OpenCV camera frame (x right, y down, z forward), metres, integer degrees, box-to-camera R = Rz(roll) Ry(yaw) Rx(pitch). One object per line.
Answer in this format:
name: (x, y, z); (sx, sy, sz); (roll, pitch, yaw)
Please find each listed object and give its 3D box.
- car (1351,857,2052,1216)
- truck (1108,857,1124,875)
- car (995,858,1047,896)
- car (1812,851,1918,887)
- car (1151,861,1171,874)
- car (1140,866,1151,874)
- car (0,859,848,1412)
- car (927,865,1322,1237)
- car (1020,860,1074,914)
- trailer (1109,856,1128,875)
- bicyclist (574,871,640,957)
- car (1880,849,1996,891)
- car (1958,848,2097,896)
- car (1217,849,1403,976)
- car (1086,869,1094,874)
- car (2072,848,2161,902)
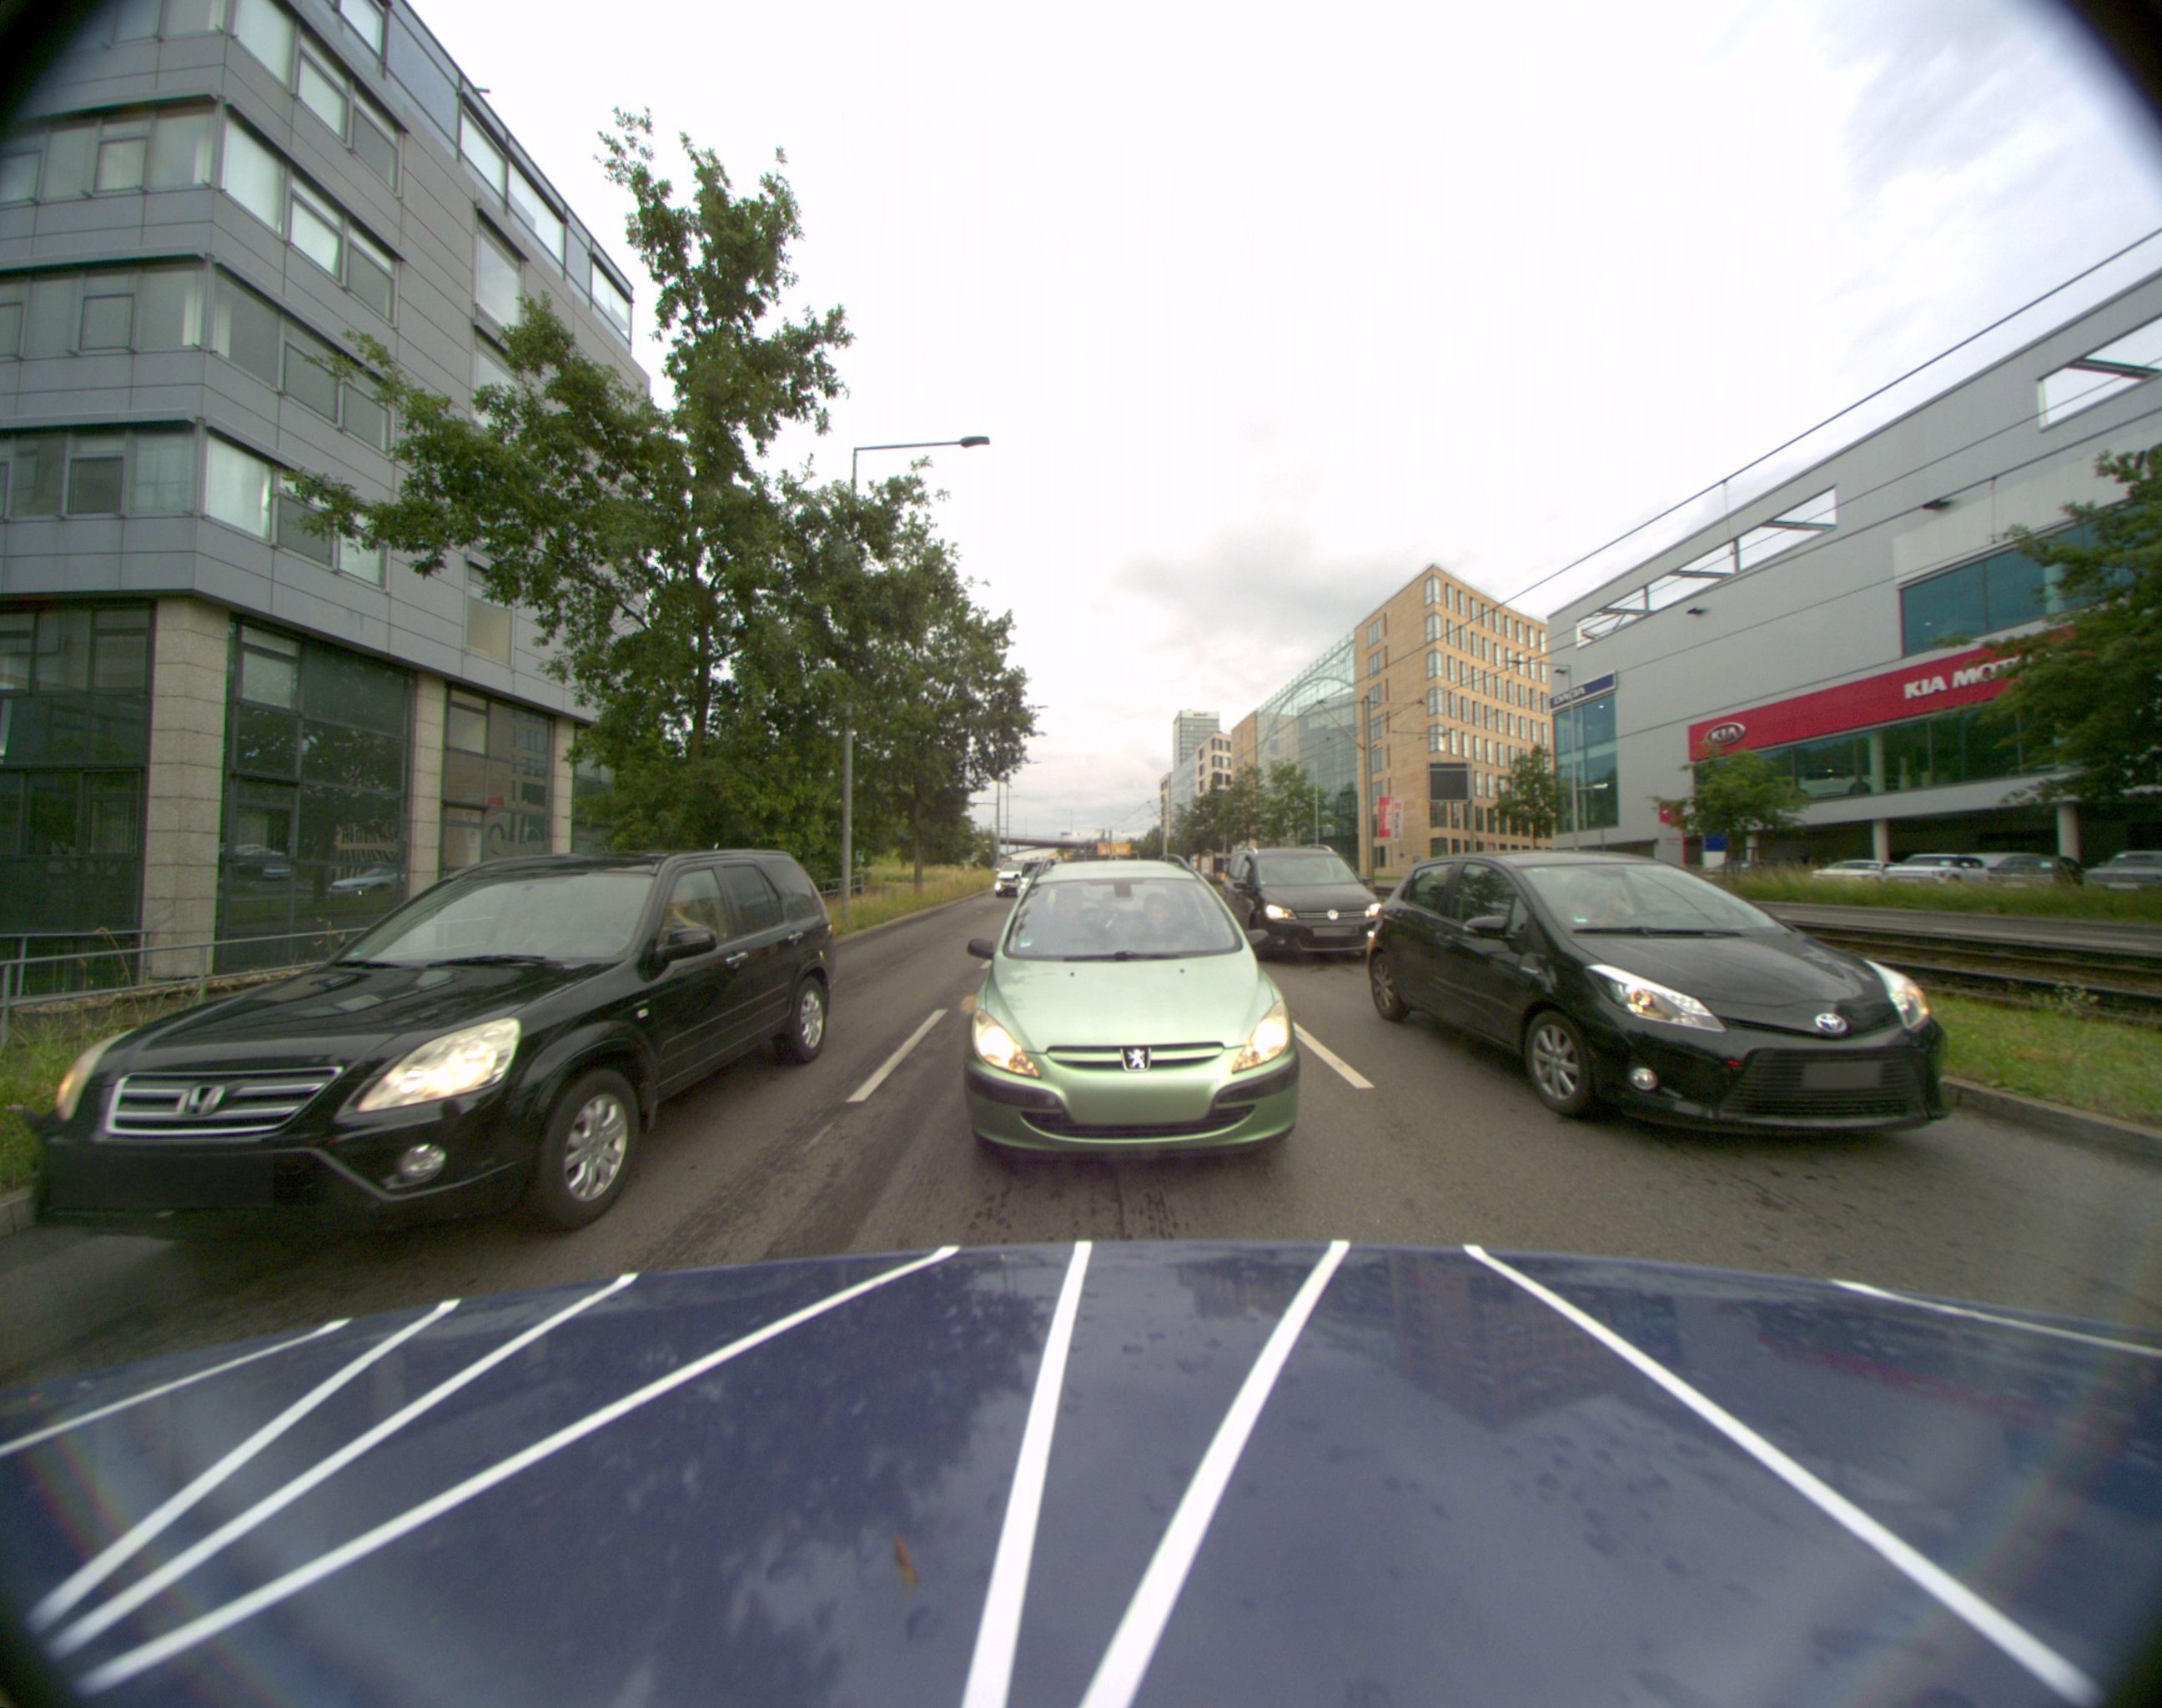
car: (3.431, 0.813, 5.271); (1.704, 1.523, 3.826); (-1, 0, -1)
truck: (8.762, 2.946, 190.154); (3.144, 4.219, 7.026); (2, 0, -3)
car: (-2.510, 0.934, 32.772); (1.827, 1.495, 3.766); (-1, 0, 1)
car: (31.744, 0.582, 30.775); (3.668, 1.181, 1.696); (-4, 1, -22)
car: (10.882, 1.792, 104.231); (1.999, 1.709, 4.839); (1, 0, -3)
car: (12.096, 2.961, 142.365); (1.589, 1.504, 4.100); (1, 0, -3)
car: (-2.972, 0.893, 4.509); (1.759, 1.649, 4.338); (-1, 0, 1)
car: (0.176, 0.896, 5.519); (1.704, 1.523, 4.370); (-1, 0, -1)
car: (-1.093, 0.953, 23.462); (1.518, 1.495, 3.167); (-1, 0, -4)
trailer: (9.045, 2.790, 184.608); (3.143, 4.304, 13.277); (2, 0, -3)
bicyclist: (-9.146, 1.143, 14.688); (0.647, 1.569, 0.855); (-2, 0, 1)
car: (31.767, 0.566, 28.170); (3.668, 1.287, 1.696); (-4, 1, -22)
car: (31.605, 0.574, 25.389); (3.528, 1.344, 1.696); (-4, 1, -17)
car: (3.311, 0.750, 11.878); (1.786, 1.597, 4.318); (-1, 0, 3)
car: (2.651, 4.943, 215.312); (1.655, 1.428, 3.876); (-2, 2, -7)
car: (32.026, 0.594, 22.859); (3.528, 1.344, 1.696); (-4, 1, -20)
